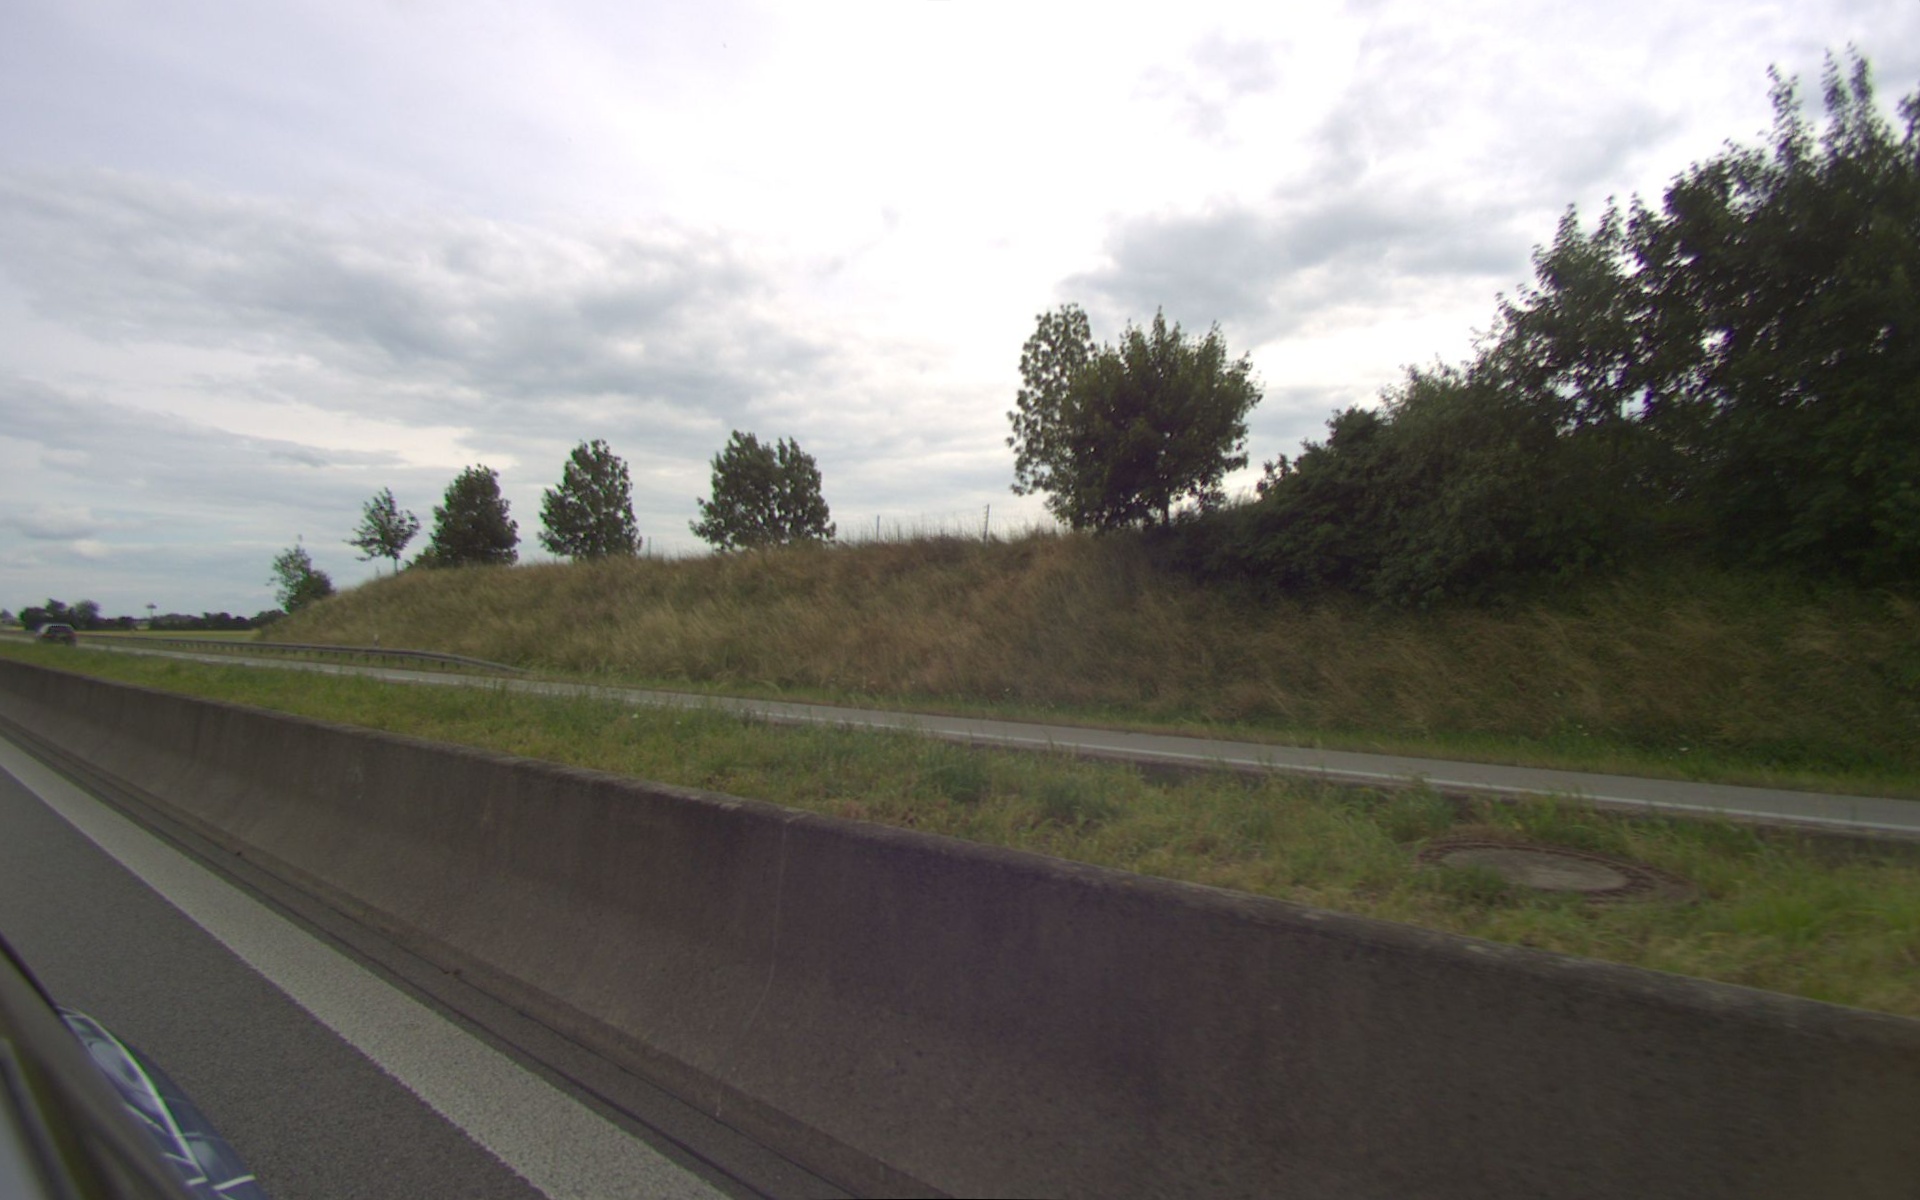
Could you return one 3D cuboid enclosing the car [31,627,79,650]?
[{"bbox_3d":[-60.716,2.580,67.896,4.578,1.509,1.826,-1,-4,42],"label":"car"}]
